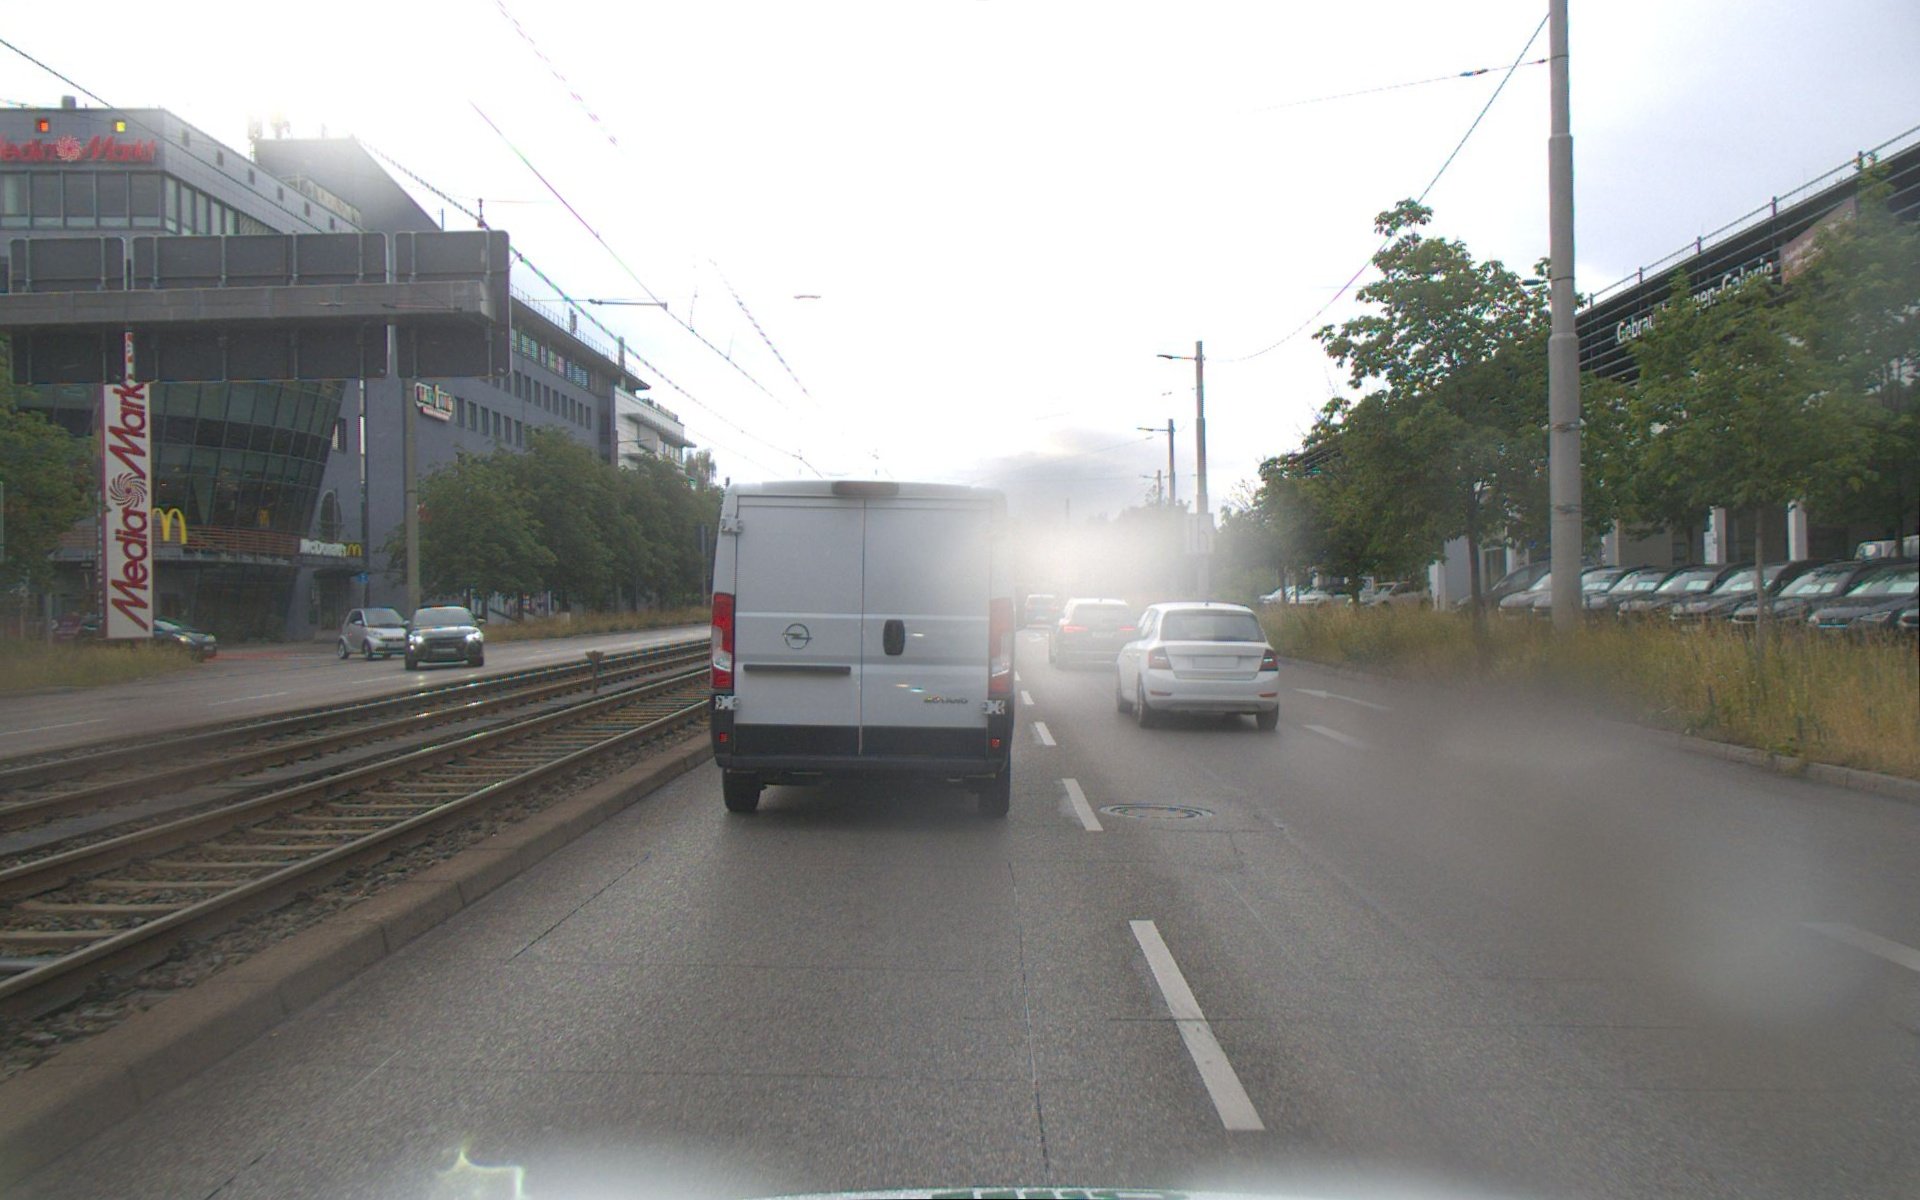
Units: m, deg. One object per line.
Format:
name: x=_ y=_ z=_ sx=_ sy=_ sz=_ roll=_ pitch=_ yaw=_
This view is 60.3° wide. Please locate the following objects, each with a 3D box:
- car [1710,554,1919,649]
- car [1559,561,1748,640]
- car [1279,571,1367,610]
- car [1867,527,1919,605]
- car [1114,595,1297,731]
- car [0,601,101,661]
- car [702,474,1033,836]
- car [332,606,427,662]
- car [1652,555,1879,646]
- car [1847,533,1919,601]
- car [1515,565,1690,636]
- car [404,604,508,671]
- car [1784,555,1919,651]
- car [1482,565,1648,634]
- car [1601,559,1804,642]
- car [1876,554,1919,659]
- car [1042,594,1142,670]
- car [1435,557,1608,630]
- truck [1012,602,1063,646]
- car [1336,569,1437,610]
car: x=16.313 y=0.003 z=30.841 sx=4.077 sy=1.554 sz=1.821 roll=-3 pitch=0 yaw=-19
car: x=16.501 y=0.005 z=39.341 sx=4.085 sy=1.632 sz=1.813 roll=-3 pitch=0 yaw=-24
car: x=17.182 y=-0.454 z=78.140 sx=4.055 sy=1.596 sz=1.776 roll=-2 pitch=-1 yaw=-36
car: x=25.182 y=-0.888 z=41.973 sx=1.848 sy=1.972 sz=4.429 roll=-1 pitch=0 yaw=0
car: x=2.961 y=0.711 z=20.628 sx=1.711 sy=1.483 sz=3.671 roll=1 pitch=0 yaw=0
car: x=-33.482 y=1.126 z=59.645 sx=3.910 sy=2.049 sz=1.997 roll=-1 pitch=0 yaw=-6
car: x=-0.552 y=0.347 z=12.903 sx=2.047 sy=2.235 sz=5.061 roll=1 pitch=0 yaw=1
car: x=-17.865 y=1.022 z=50.871 sx=2.900 sy=1.563 sz=1.593 roll=-1 pitch=3 yaw=44
car: x=16.362 y=0.001 z=33.610 sx=4.083 sy=1.597 sz=1.896 roll=-3 pitch=0 yaw=-23
car: x=29.373 y=-1.026 z=50.109 sx=3.944 sy=2.010 sz=1.945 roll=-2 pitch=0 yaw=0
car: x=16.380 y=0.017 z=42.145 sx=4.088 sy=1.589 sz=1.854 roll=-3 pitch=0 yaw=-26
car: x=-12.135 y=0.864 z=40.030 sx=1.769 sy=1.454 sz=4.227 roll=-2 pitch=0 yaw=-9
car: x=16.344 y=-0.012 z=28.161 sx=4.077 sy=1.484 sz=1.784 roll=-3 pitch=0 yaw=-19
car: x=16.485 y=-0.009 z=45.042 sx=4.273 sy=1.640 sz=1.852 roll=-3 pitch=0 yaw=-29
car: x=16.379 y=-0.002 z=36.497 sx=4.085 sy=1.597 sz=1.813 roll=-3 pitch=0 yaw=-24
car: x=16.327 y=-0.001 z=25.290 sx=4.077 sy=1.561 sz=1.784 roll=-3 pitch=0 yaw=-19
car: x=2.687 y=0.616 z=34.361 sx=1.753 sy=1.474 sz=4.000 roll=0 pitch=0 yaw=0
car: x=16.548 y=-0.185 z=48.764 sx=4.612 sy=1.909 sz=1.824 roll=-3 pitch=0 yaw=24
truck: x=3.381 y=1.030 z=72.878 sx=1.953 sy=1.822 sz=4.413 roll=-1 pitch=0 yaw=-1
car: x=17.707 y=-0.437 z=68.694 sx=4.048 sy=1.491 sz=1.729 roll=-3 pitch=-1 yaw=-33
